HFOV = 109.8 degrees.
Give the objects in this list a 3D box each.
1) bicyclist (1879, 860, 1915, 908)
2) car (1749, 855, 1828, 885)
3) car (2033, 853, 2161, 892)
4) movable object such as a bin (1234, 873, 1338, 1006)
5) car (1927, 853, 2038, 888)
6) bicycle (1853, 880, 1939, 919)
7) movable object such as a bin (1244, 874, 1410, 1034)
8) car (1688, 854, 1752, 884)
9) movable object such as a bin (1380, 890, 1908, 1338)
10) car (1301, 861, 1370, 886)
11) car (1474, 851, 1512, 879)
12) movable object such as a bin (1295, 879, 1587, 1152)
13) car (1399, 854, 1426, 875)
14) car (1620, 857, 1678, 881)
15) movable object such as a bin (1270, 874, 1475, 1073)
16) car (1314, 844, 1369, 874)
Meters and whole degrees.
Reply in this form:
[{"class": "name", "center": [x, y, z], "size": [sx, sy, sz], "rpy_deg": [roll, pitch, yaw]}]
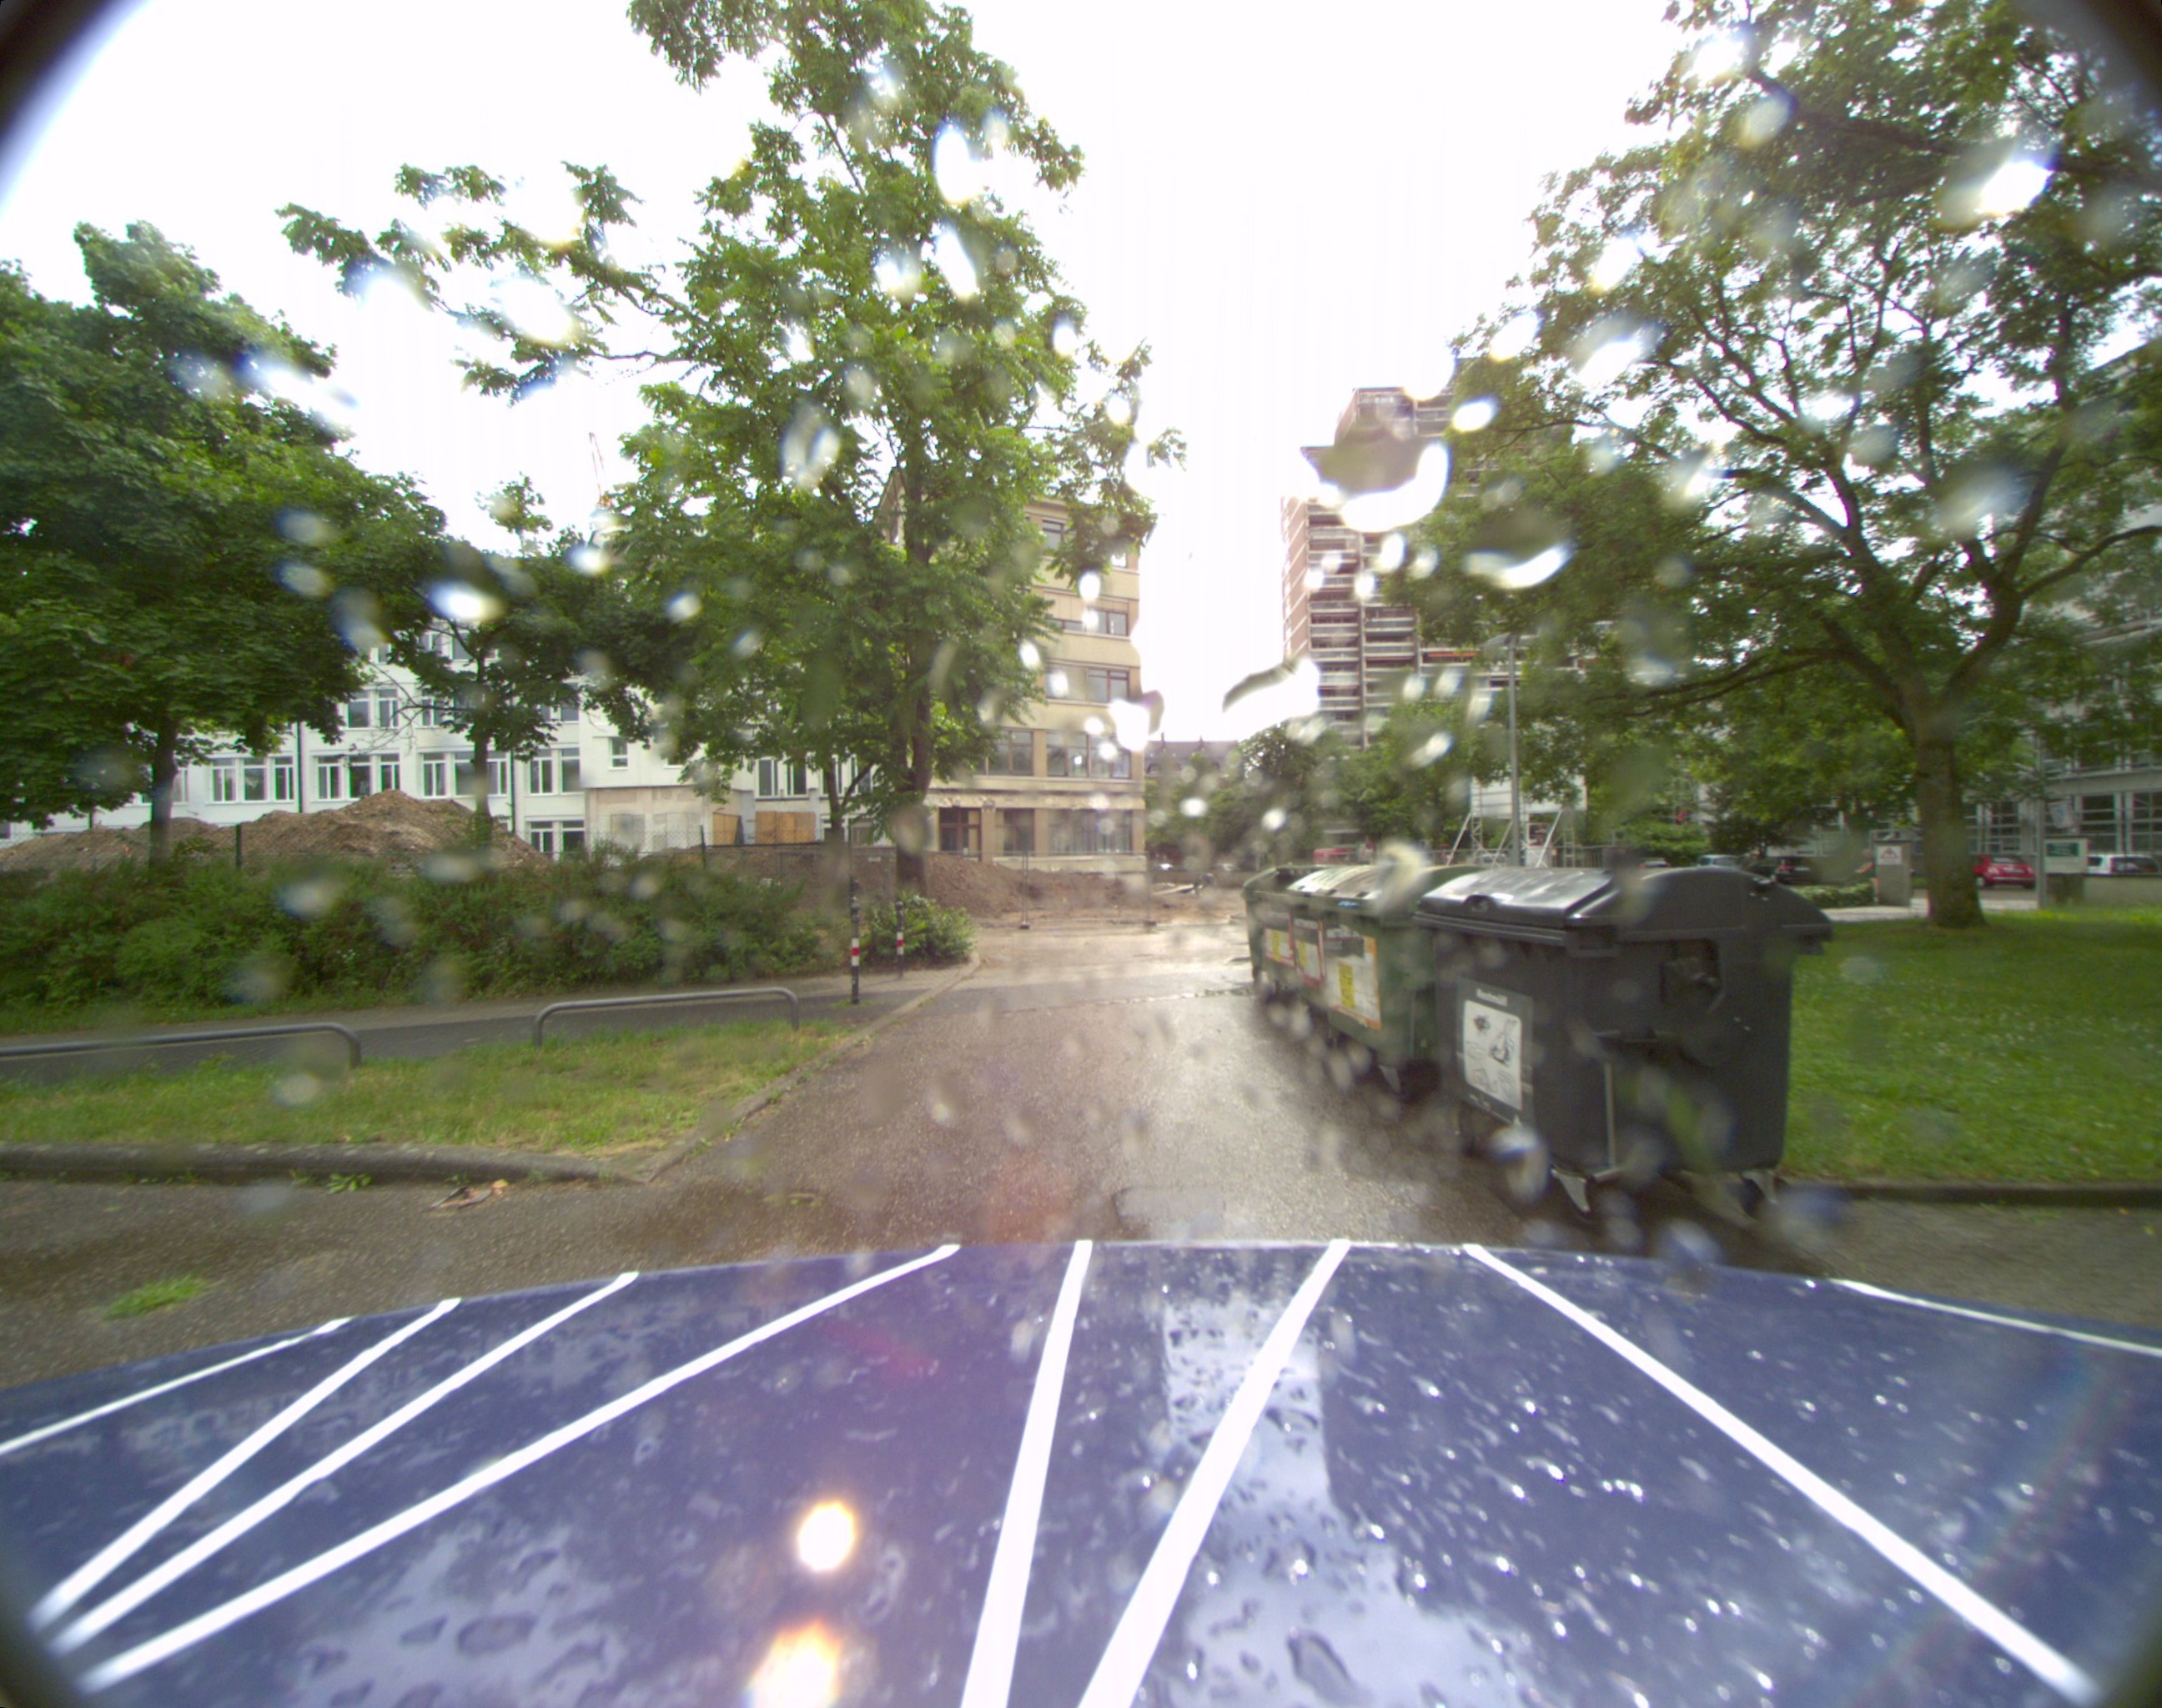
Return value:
[{"class": "bicyclist", "center": [27.612, 1.019, 25.718], "size": [0.672, 1.607, 0.647], "rpy_deg": [-1, -1, 33]}, {"class": "car", "center": [36.374, 0.779, 39.179], "size": [1.738, 1.461, 3.655], "rpy_deg": [-1, 0, 21]}, {"class": "car", "center": [40.734, 0.715, 30.539], "size": [1.706, 1.443, 3.413], "rpy_deg": [-1, 0, 24]}, {"class": "movable object such as a bin", "center": [2.520, 1.003, 9.448], "size": [1.103, 1.464, 1.487], "rpy_deg": [-2, 0, 13]}, {"class": "car", "center": [39.840, 0.705, 33.696], "size": [1.738, 1.461, 3.413], "rpy_deg": [1, 0, 21]}, {"class": "bicycle", "center": [27.560, 1.515, 25.739], "size": [1.863, 1.258, 0.647], "rpy_deg": [-1, -2, 33]}, {"class": "movable object such as a bin", "center": [2.481, 0.967, 7.897], "size": [1.167, 1.474, 1.403], "rpy_deg": [-1, -2, -3]}, {"class": "car", "center": [35.409, 0.806, 42.200], "size": [1.704, 1.542, 3.656], "rpy_deg": [-1, 0, 22]}, {"class": "movable object such as a bin", "center": [2.279, 0.944, 3.443], "size": [1.167, 1.474, 1.594], "rpy_deg": [0, 0, -2]}, {"class": "car", "center": [15.950, 1.236, 47.812], "size": [1.893, 1.461, 3.993], "rpy_deg": [1, -2, -23]}, {"class": "car", "center": [29.833, 0.763, 55.093], "size": [1.933, 1.885, 4.652], "rpy_deg": [0, 0, 23]}, {"class": "movable object such as a bin", "center": [2.232, 0.932, 5.006], "size": [1.167, 1.474, 1.496], "rpy_deg": [0, 1, -2]}, {"class": "car", "center": [27.118, 0.814, 62.234], "size": [1.781, 1.556, 4.051], "rpy_deg": [-1, 1, 20]}, {"class": "car", "center": [34.302, 0.886, 46.001], "size": [1.765, 1.389, 3.655], "rpy_deg": [-1, 0, 19]}, {"class": "movable object such as a bin", "center": [2.391, 0.924, 6.478], "size": [1.167, 1.474, 1.403], "rpy_deg": [-1, -1, -1]}, {"class": "car", "center": [23.278, 0.445, 68.267], "size": [2.303, 2.618, 5.478], "rpy_deg": [0, 0, -10]}]
